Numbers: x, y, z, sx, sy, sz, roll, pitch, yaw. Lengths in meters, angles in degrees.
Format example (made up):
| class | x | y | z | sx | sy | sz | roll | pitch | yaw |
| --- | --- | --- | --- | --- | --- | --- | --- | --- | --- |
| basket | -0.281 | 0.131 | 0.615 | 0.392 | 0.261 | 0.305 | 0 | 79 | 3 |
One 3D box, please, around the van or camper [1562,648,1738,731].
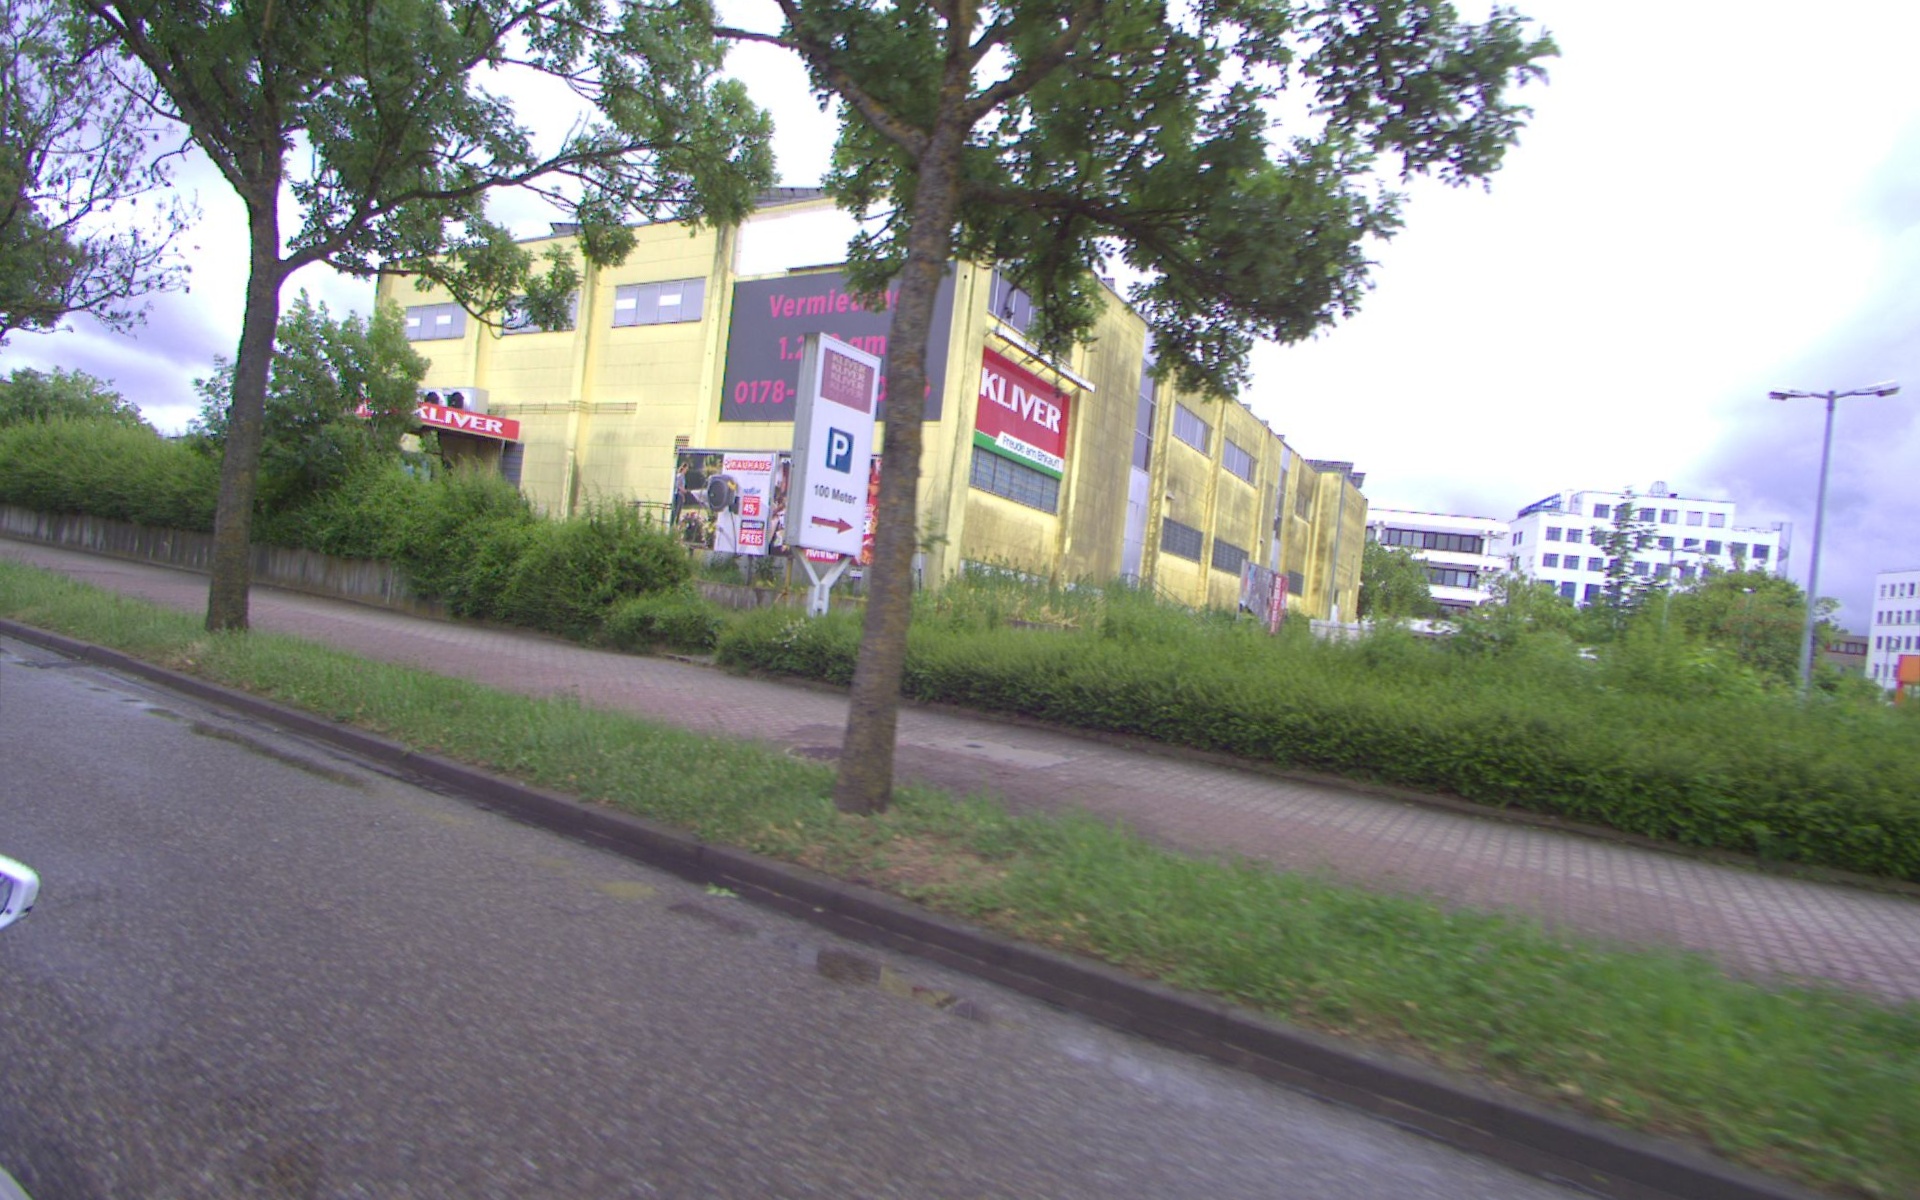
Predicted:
| class | x | y | z | sx | sy | sz | roll | pitch | yaw |
| --- | --- | --- | --- | --- | --- | --- | --- | --- | --- |
| van or camper | 24.915 | 3.212 | 36.589 | 4.941 | 2.282 | 2.152 | 6 | 0 | 32 |
